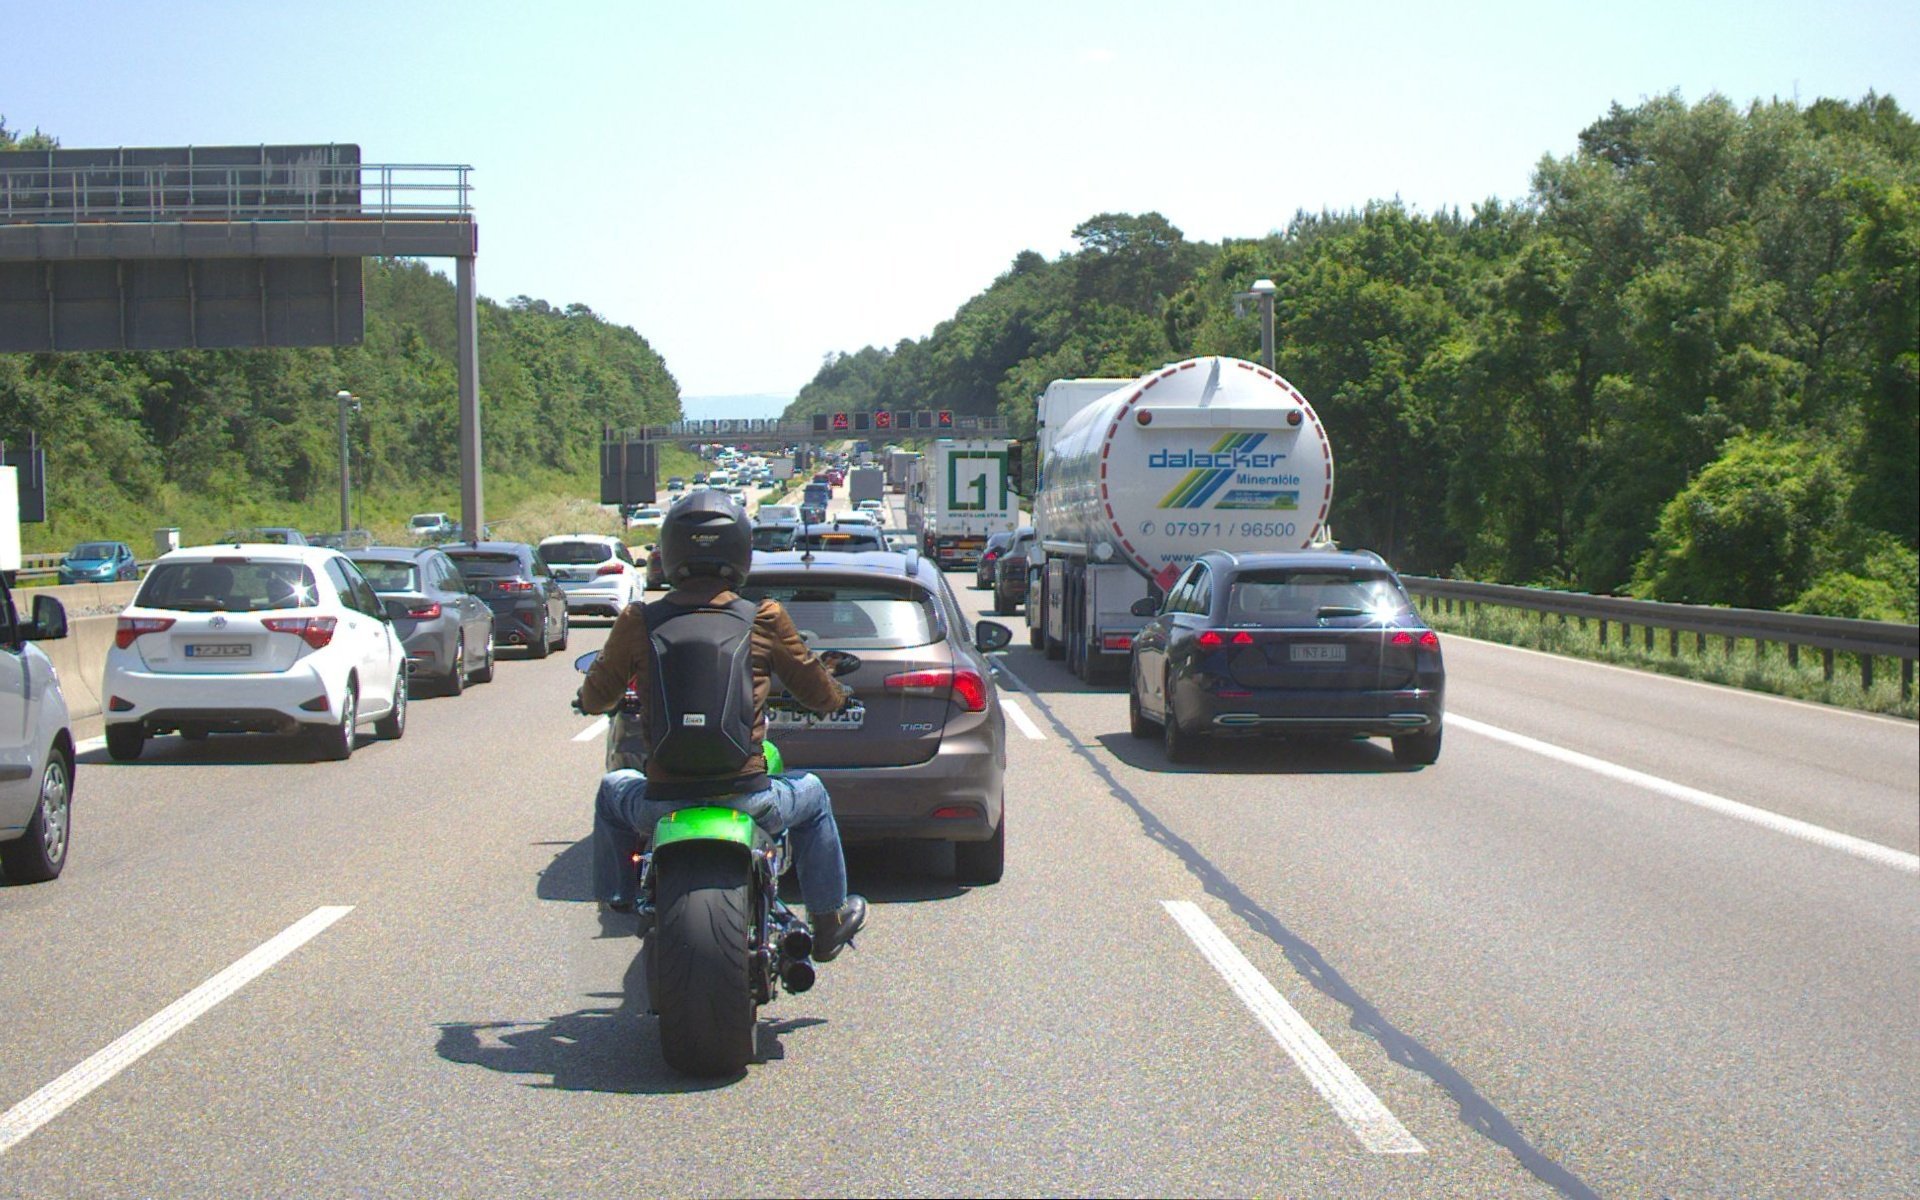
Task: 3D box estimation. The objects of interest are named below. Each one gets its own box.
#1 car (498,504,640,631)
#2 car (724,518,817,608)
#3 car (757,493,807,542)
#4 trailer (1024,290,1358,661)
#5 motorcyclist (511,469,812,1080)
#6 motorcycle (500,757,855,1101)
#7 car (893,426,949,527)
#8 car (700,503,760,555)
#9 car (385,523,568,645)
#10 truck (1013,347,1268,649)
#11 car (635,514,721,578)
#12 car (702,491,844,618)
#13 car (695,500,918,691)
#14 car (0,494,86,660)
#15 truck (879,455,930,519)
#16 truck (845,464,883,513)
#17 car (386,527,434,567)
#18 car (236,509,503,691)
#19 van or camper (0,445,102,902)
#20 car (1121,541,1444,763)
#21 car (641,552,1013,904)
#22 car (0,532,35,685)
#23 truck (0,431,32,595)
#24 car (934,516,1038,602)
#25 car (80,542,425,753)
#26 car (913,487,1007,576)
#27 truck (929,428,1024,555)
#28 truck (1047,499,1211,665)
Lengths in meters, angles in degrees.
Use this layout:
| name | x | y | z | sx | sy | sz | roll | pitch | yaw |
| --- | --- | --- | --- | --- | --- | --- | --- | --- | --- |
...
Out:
| name | x | y | z | sx | sy | sz | roll | pitch | yaw |
| --- | --- | --- | --- | --- | --- | --- | --- | --- | --- |
| car | -6.396 | -0.516 | 56.575 | 1.993 | 2.007 | 4.000 | 0 | 0 | -2 |
| car | -4.339 | -0.830 | 79.238 | 1.993 | 2.007 | 4.000 | 0 | 0 | -1 |
| car | -7.550 | -3.494 | 146.384 | 1.993 | 2.007 | 4.000 | -1 | 1 | -1 |
| trailer | 2.391 | -1.245 | 39.455 | 2.828 | 3.658 | 10.733 | 0 | 0 | -1 |
| motorcyclist | -0.845 | 0.482 | 10.002 | 0.799 | 1.682 | 1.016 | 0 | 0 | -1 |
| motorcycle | -0.797 | 0.941 | 10.423 | 0.936 | 0.790 | 2.299 | 0 | 1 | -1 |
| car | -1.671 | -5.088 | 143.713 | 2.167 | 3.879 | 9.330 | 0 | 0 | -1 |
| car | -7.186 | -2.215 | 107.737 | 1.660 | 1.594 | 4.000 | 0 | 1 | -1 |
| car | -6.066 | -0.198 | 43.525 | 1.993 | 1.459 | 4.000 | 0 | 0 | -4 |
| truck | 2.253 | -1.247 | 45.127 | 2.828 | 3.658 | 6.430 | 0 | 0 | -1 |
| car | -6.630 | -1.251 | 81.175 | 1.764 | 1.437 | 4.000 | 0 | 0 | -1 |
| car | -2.718 | -0.644 | 50.472 | 1.993 | 1.769 | 4.000 | 0 | 0 | -2 |
| car | -1.460 | -0.047 | 32.909 | 1.993 | 1.705 | 4.000 | 0 | 0 | -2 |
| car | -12.552 | -0.291 | 43.464 | 1.993 | 2.007 | 4.000 | 0 | 0 | 0 |
| truck | -3.165 | -6.313 | 193.892 | 2.696 | 3.394 | 10.479 | -1 | 1 | -1 |
| truck | -7.109 | -8.256 | 254.926 | 2.696 | 3.394 | 10.479 | -1 | 1 | -1 |
| car | -28.194 | -2.734 | 176.204 | 1.900 | 2.007 | 4.000 | -1 | 1 | -2 |
| car | -5.768 | -0.004 | 34.080 | 1.993 | 1.678 | 4.330 | 0 | 0 | -1 |
| van or camper | -4.843 | 0.305 | 13.652 | 1.853 | 1.874 | 4.562 | 0 | 1 | -2 |
| car | 2.236 | 0.338 | 24.995 | 1.792 | 1.453 | 4.624 | 0 | 0 | -1 |
| car | -0.603 | 0.507 | 16.324 | 1.541 | 1.445 | 4.000 | 0 | 1 | -1 |
| car | -10.213 | 0.097 | 32.804 | 1.824 | 1.489 | 4.001 | 0 | 1 | -2 |
| truck | -24.610 | -2.127 | 82.458 | 2.692 | 3.976 | 7.991 | 0 | 0 | -1 |
| car | 0.447 | -0.737 | 63.061 | 1.776 | 1.522 | 4.000 | 0 | 0 | -1 |
| car | -5.071 | 0.318 | 25.131 | 1.776 | 1.406 | 4.000 | 0 | 0 | -1 |
| car | -0.026 | -1.581 | 80.835 | 1.993 | 2.007 | 4.000 | 0 | 0 | -3 |
| truck | 0.586 | -3.364 | 108.866 | 2.854 | 3.808 | 7.187 | 0 | 0 | 1 |
| truck | 3.156 | -0.399 | 66.036 | 2.388 | 2.969 | 8.254 | 0 | 1 | -2 |
